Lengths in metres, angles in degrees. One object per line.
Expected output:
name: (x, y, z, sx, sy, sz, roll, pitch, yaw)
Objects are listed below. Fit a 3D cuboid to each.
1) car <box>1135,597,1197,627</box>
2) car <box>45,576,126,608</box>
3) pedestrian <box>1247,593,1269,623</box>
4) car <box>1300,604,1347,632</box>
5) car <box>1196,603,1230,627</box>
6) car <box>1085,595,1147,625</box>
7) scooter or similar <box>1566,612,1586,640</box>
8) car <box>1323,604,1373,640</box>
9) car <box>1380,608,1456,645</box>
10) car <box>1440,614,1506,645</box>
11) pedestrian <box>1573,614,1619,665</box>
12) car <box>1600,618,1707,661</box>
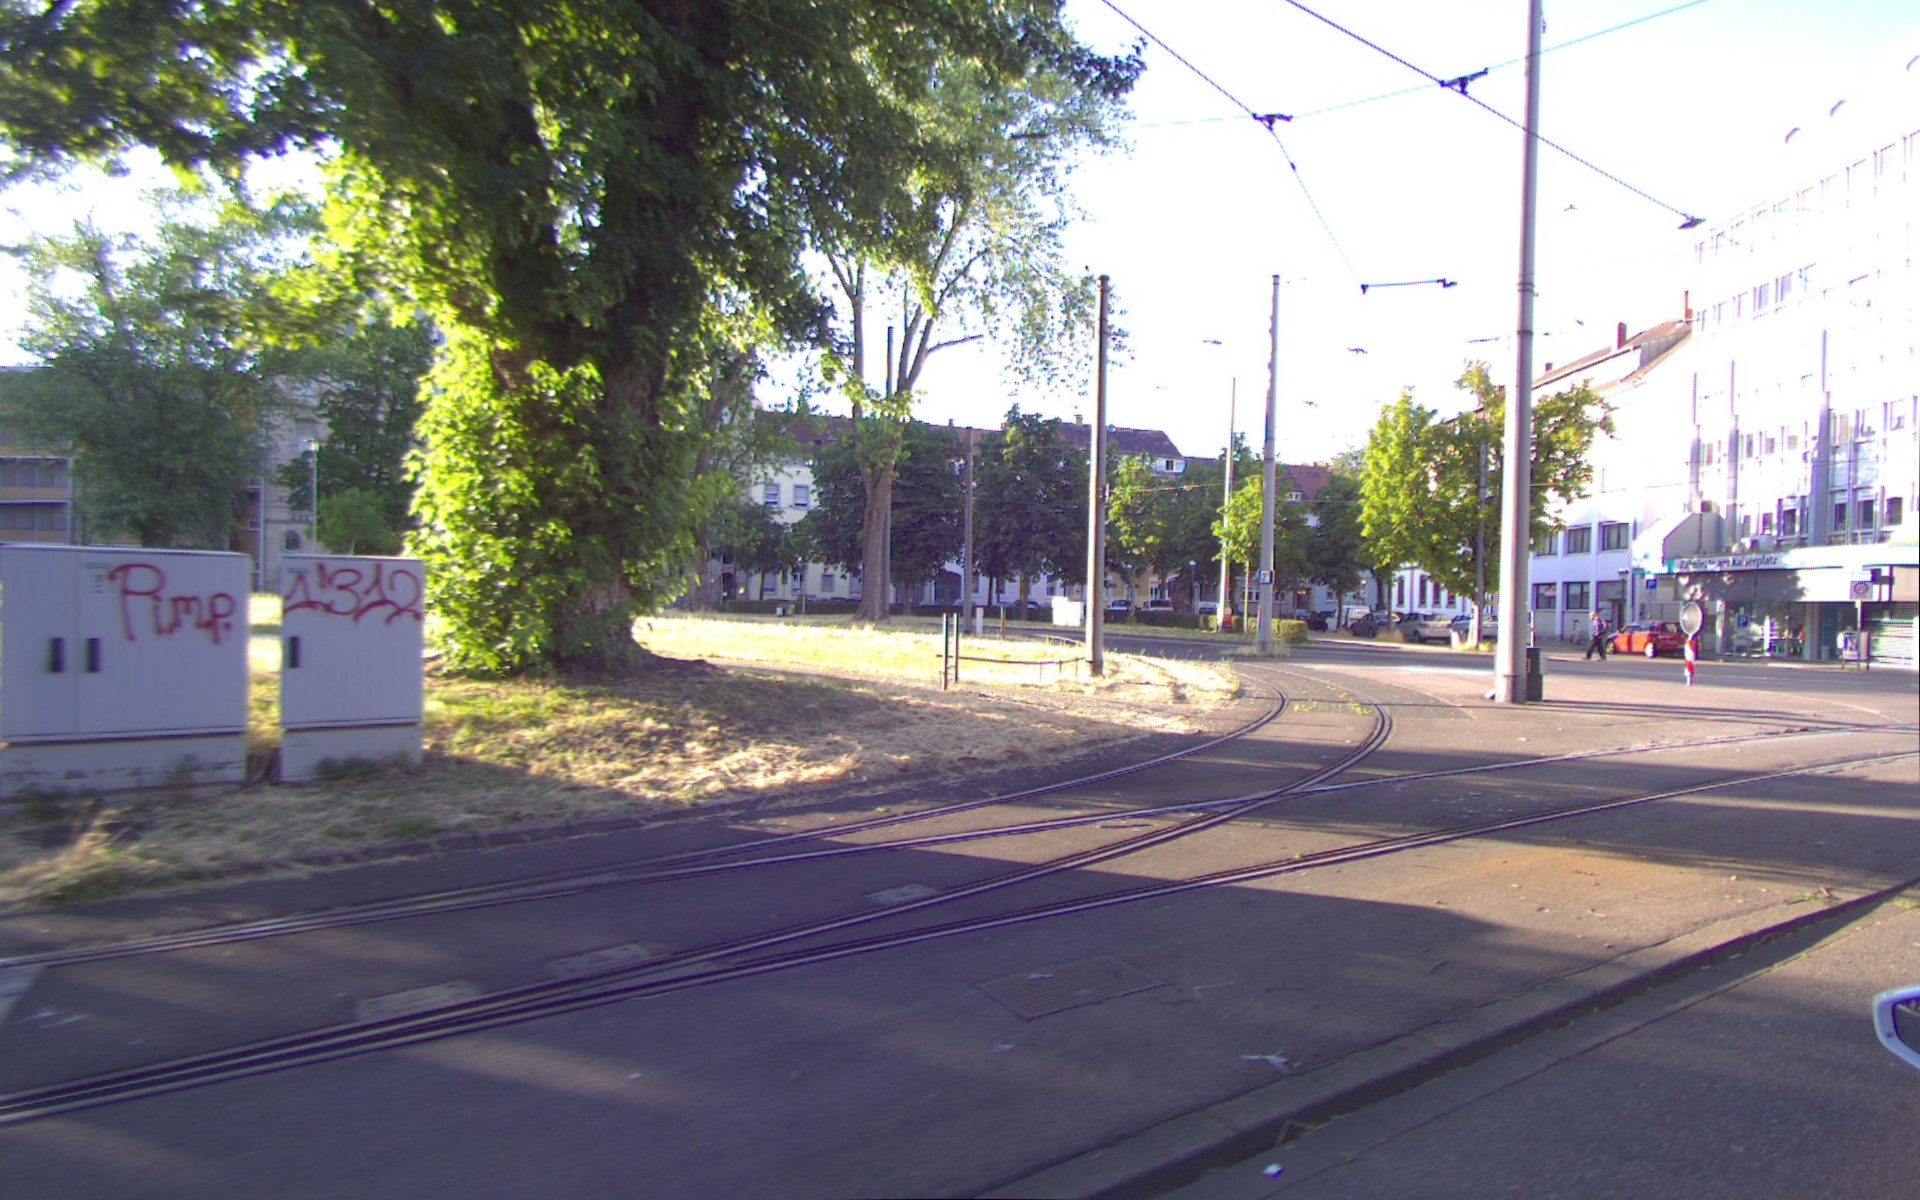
car: (15.106, 0.871, 73.613, 3.935, 2.040, 1.993, 2, 1, -17)
car: (-54.251, -0.509, 62.328, 3.920, 1.818, 2.000, 2, 1, 17)
pedestrian: (21.170, 0.551, 71.381, 1.097, 2.040, 1.466, 2, 1, 4)
car: (24.770, 1.214, 68.636, 1.960, 1.751, 4.002, 2, 0, 5)
car: (23.045, 1.314, 91.647, 1.961, 2.040, 3.998, 2, 0, -3)
car: (11.237, 0.701, 72.363, 3.935, 2.040, 1.993, 2, 1, -17)
scooter or similar: (32.563, 1.344, 53.108, 0.741, 1.417, 1.925, 2, 1, 27)
car: (24.221, 1.339, 62.886, 1.959, 2.040, 4.002, 2, 0, 8)
car: (23.707, 1.348, 52.140, 1.961, 1.706, 3.998, 2, 0, -3)
car: (28.639, 1.601, 56.201, 1.960, 1.550, 4.002, 2, 0, 6)
pedestrian: (22.305, 1.376, 35.266, 1.140, 1.725, 0.907, 2, 0, 20)
car: (28.048, 1.572, 40.782, 1.986, 1.505, 4.002, 2, 1, 9)
